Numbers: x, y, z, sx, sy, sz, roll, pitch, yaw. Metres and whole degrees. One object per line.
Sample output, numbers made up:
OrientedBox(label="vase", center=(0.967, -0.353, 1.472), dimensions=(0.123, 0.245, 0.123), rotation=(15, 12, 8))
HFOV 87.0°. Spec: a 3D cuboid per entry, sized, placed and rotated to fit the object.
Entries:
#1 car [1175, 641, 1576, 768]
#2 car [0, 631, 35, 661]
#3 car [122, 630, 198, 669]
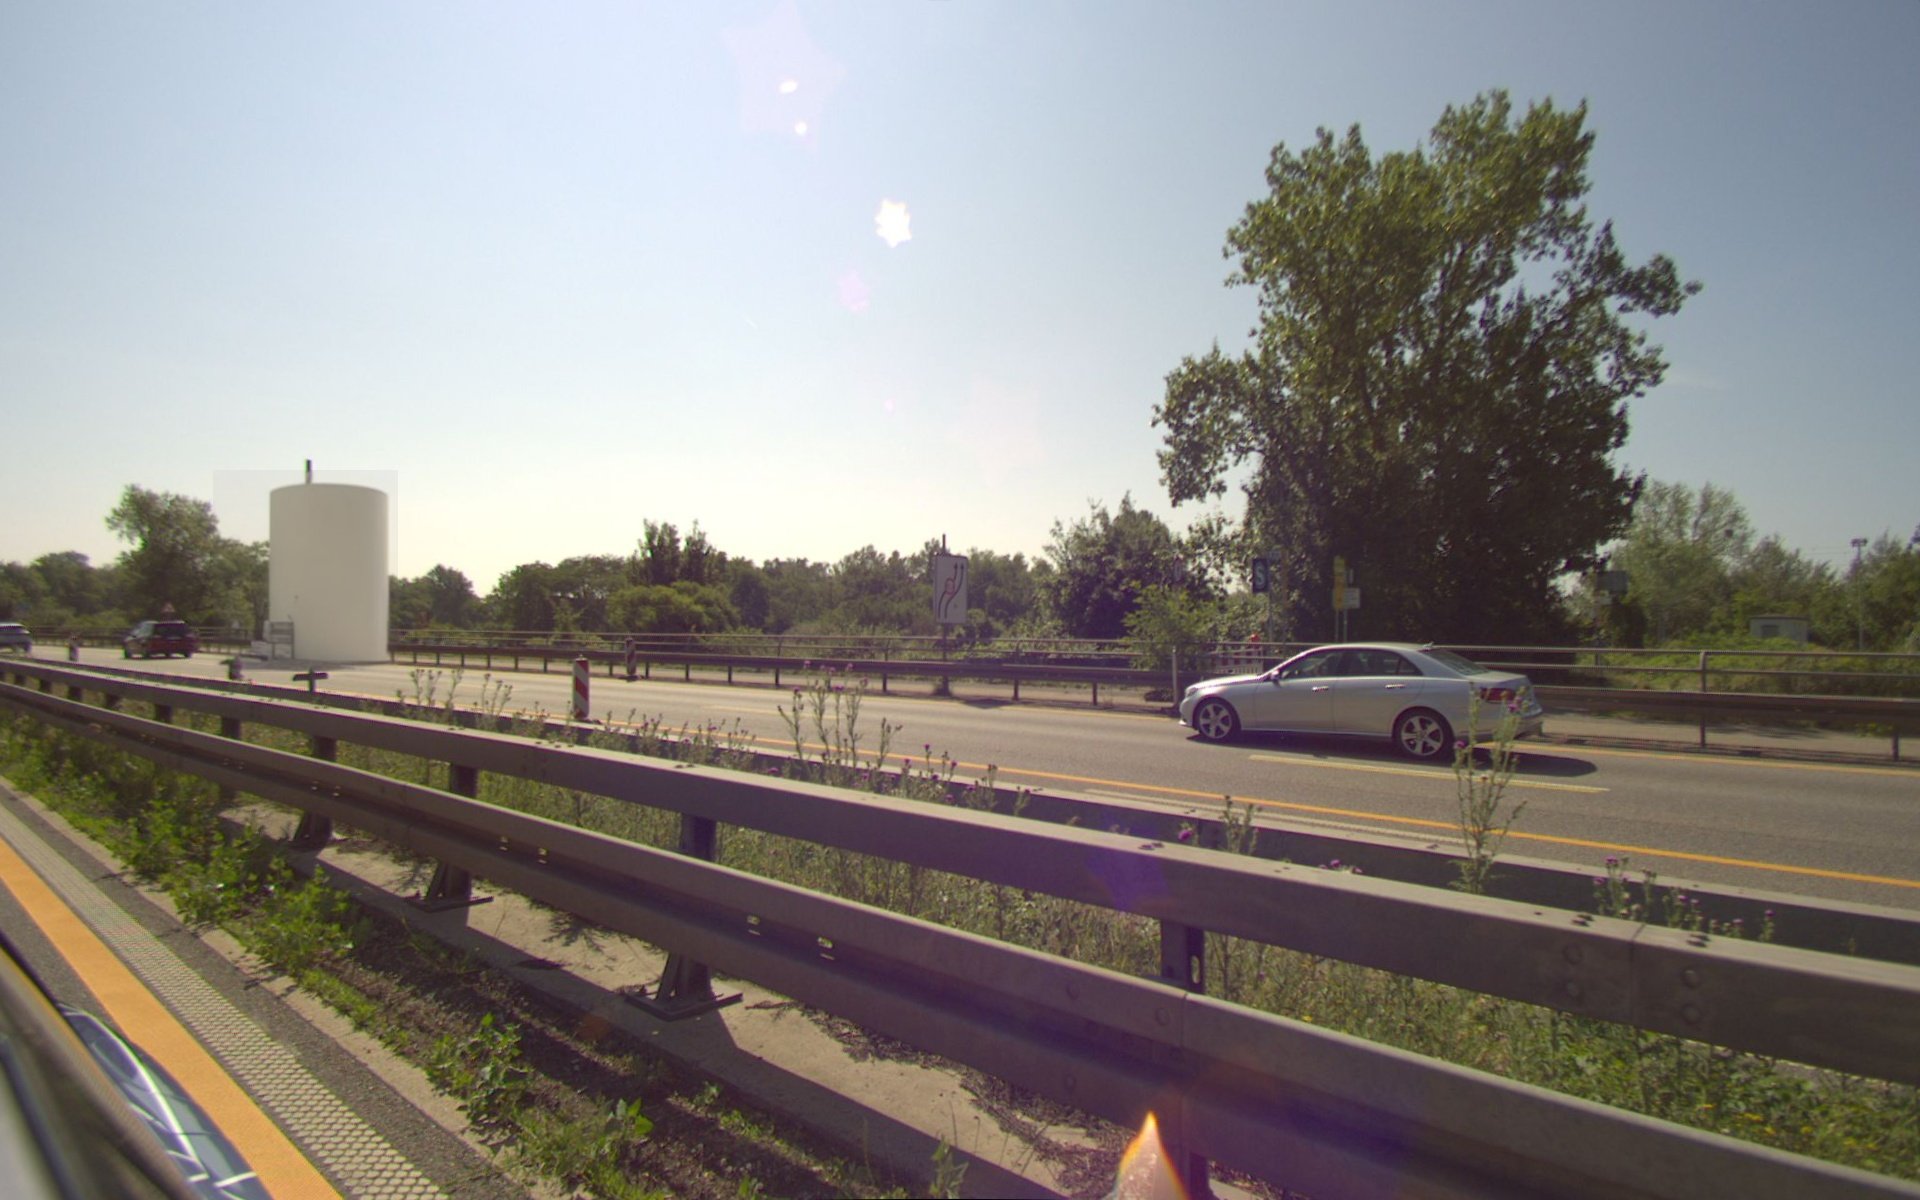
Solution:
OrientedBox(label="car", center=(5.630, 1.310, 14.120), dimensions=(4.855, 1.431, 1.866), rotation=(-1, -2, 40))
OrientedBox(label="car", center=(-54.322, 2.588, 57.589), dimensions=(4.373, 1.663, 1.889), rotation=(-2, -3, 41))
OrientedBox(label="car", center=(-38.405, 2.341, 48.515), dimensions=(5.017, 1.748, 1.889), rotation=(-2, -3, 41))
